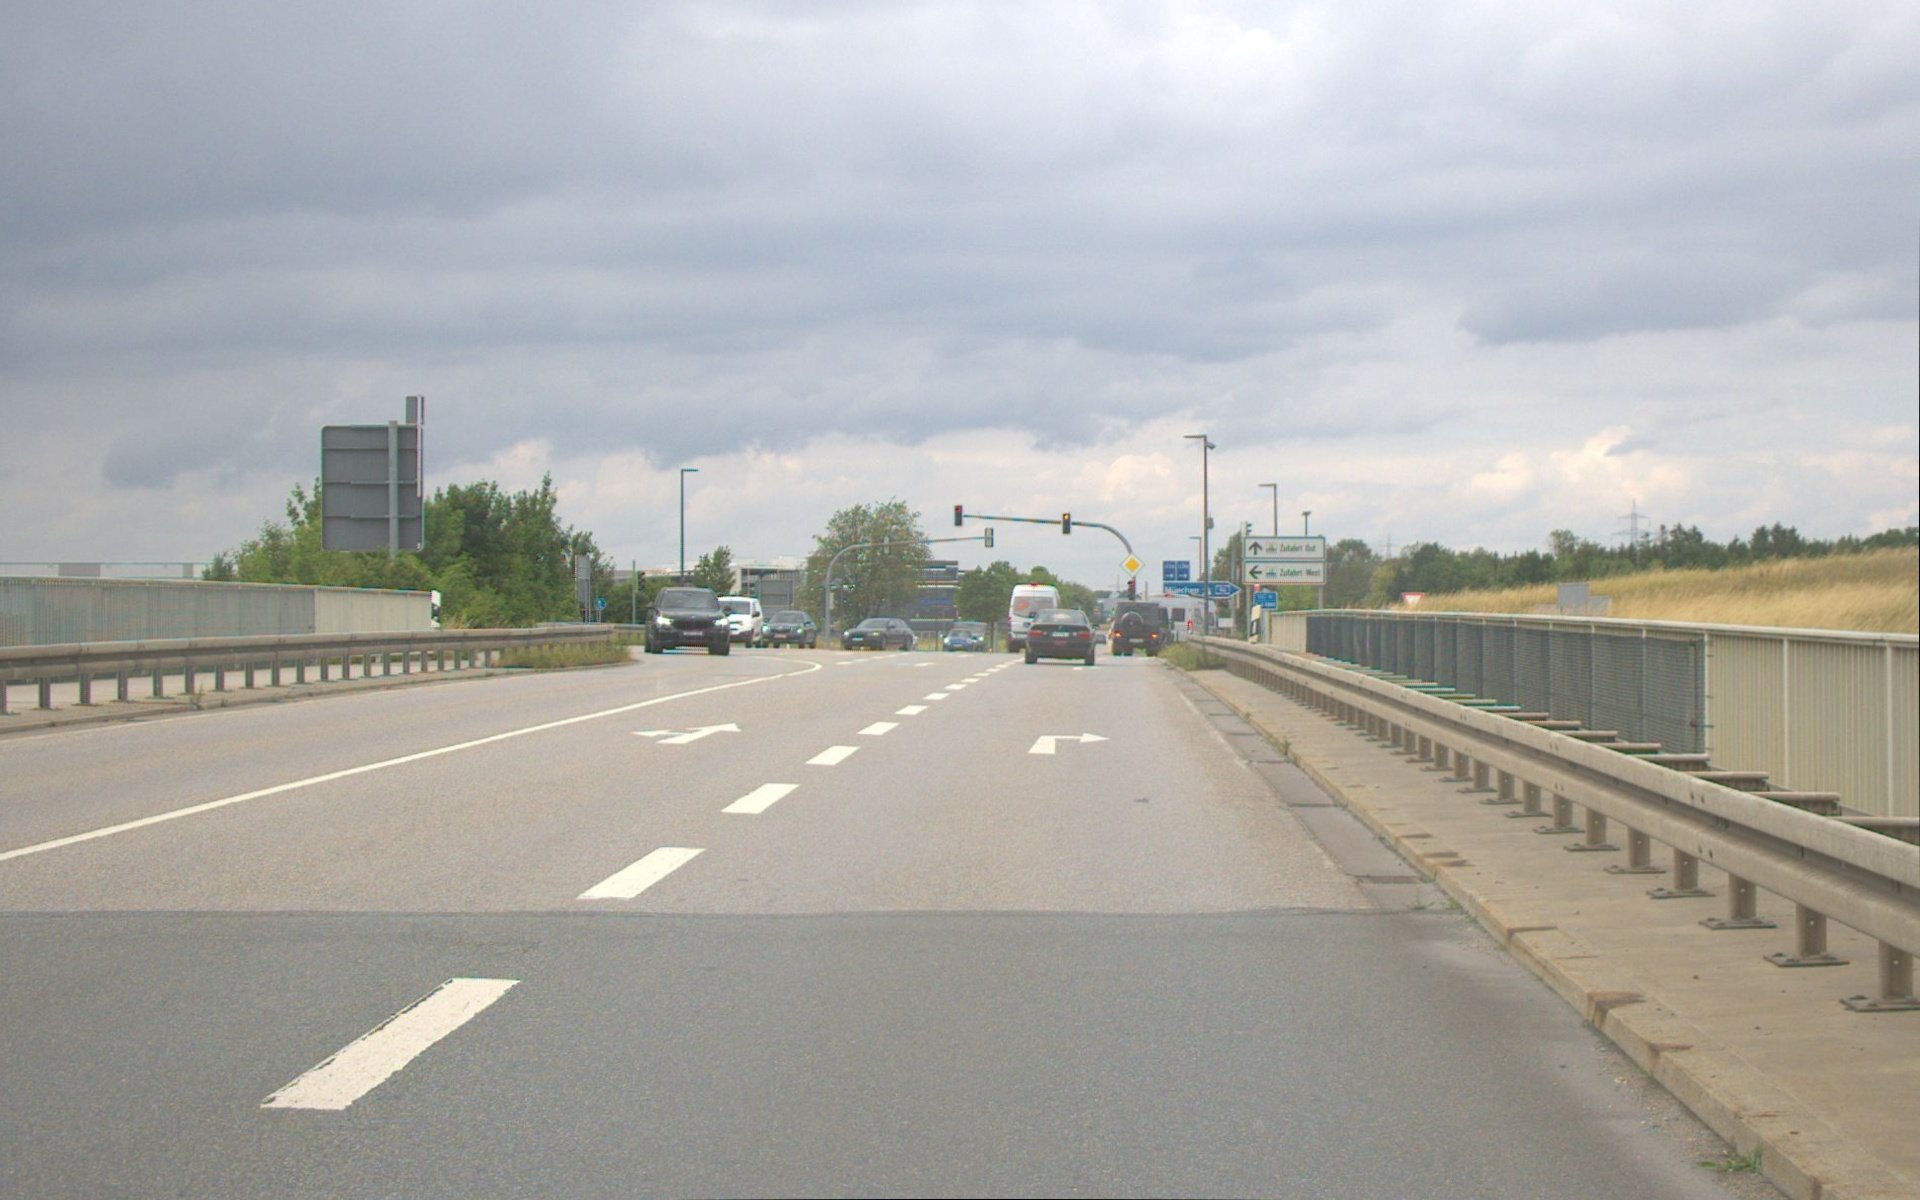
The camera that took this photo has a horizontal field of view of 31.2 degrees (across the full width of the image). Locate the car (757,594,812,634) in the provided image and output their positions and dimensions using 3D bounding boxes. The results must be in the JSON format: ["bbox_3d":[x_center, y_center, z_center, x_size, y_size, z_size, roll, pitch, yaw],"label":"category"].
[{"bbox_3d":[-7.184,0.600,140.948,1.583,1.552,4.145,2,-1,6],"label":"car"}]

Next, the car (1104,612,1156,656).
[{"bbox_3d":[6.200,1.229,125.403,1.682,1.539,3.614,1,0,6],"label":"car"}]

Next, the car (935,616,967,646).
[{"bbox_3d":[-0.491,1.733,193.106,1.693,1.364,3.944,1,3,1],"label":"car"}]

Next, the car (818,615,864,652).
[{"bbox_3d":[-5.360,1.496,154.938,1.808,1.364,4.786,1,3,1],"label":"car"}]

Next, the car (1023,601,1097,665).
[{"bbox_3d":[2.437,0.791,83.014,1.518,1.480,3.614,1,0,6],"label":"car"}]

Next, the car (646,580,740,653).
[{"bbox_3d":[-6.876,0.434,88.976,1.993,1.726,4.762,3,-1,-1],"label":"car"}]

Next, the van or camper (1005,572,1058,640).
[{"bbox_3d":[2.788,0.242,133.842,1.876,2.572,3.999,2,0,3],"label":"van or camper"}]

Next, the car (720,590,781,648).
[{"bbox_3d":[-7.501,0.684,123.311,1.953,1.868,4.821,5,-1,-2],"label":"car"}]
